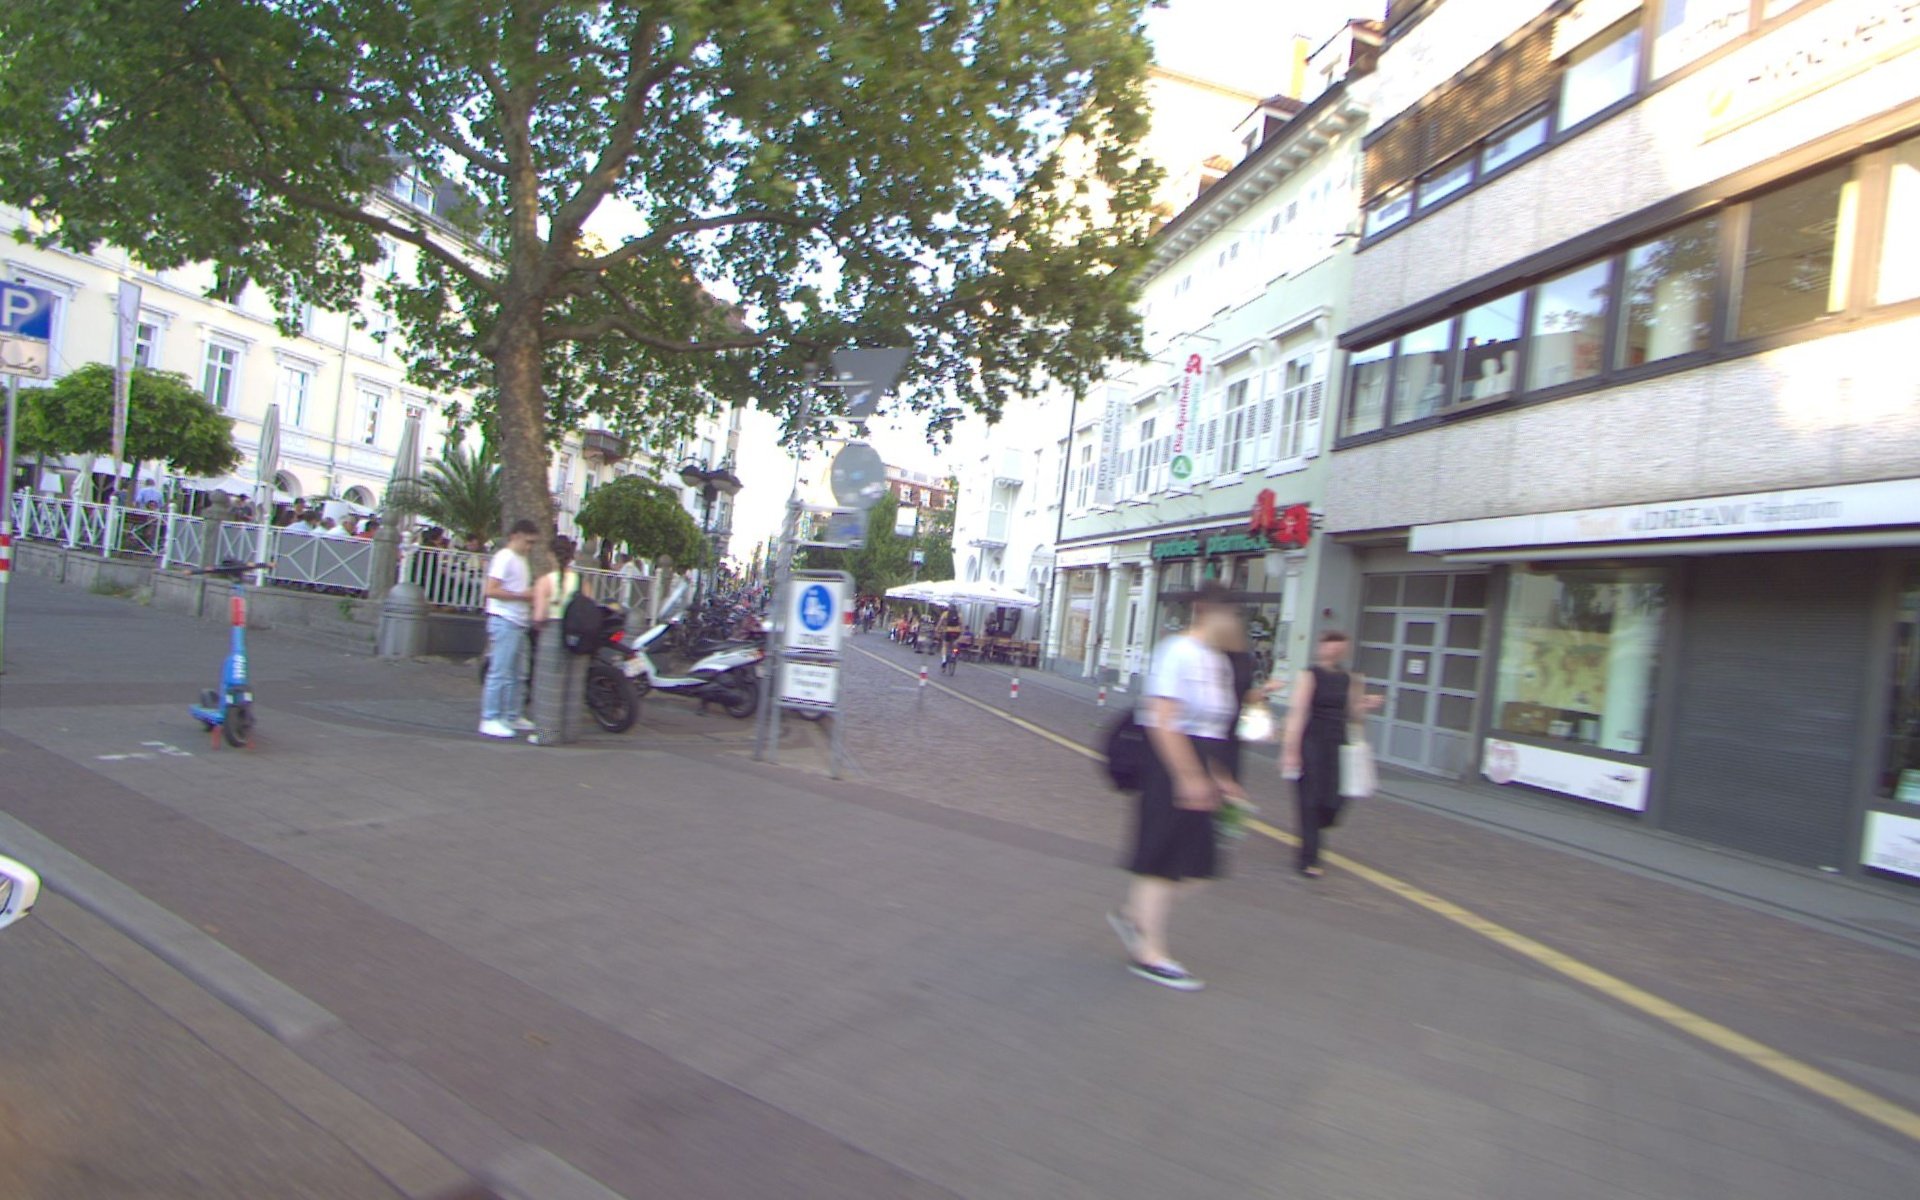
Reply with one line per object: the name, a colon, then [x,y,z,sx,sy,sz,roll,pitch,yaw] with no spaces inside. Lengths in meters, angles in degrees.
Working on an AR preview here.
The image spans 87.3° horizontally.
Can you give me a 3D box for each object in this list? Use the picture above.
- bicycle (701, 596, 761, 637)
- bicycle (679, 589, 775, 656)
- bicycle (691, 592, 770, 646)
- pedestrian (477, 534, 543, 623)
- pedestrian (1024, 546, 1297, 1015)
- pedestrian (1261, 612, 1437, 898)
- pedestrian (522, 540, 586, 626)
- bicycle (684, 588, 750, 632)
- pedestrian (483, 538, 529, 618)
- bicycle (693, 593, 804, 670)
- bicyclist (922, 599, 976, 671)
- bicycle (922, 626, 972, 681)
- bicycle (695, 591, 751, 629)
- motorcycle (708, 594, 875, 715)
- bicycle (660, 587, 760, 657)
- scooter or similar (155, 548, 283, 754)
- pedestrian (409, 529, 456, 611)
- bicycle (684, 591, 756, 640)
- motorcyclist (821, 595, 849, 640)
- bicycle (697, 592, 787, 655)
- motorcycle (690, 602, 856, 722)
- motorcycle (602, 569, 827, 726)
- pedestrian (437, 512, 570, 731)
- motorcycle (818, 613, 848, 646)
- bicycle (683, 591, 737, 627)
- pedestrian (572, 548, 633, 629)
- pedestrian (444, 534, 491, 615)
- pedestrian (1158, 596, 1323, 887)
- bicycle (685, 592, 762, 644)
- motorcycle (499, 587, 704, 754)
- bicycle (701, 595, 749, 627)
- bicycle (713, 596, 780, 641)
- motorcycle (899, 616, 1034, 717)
bicycle: [-8.782,0.641,38.645,2.090,1.307,0.440,8,-1,-24]
bicycle: [-5.700,0.545,24.645,2.080,1.307,0.442,9,1,-4]
bicycle: [-6.751,0.564,29.633,2.091,1.306,0.440,9,-1,-24]
pedestrian: [-7.062,-0.337,15.791,0.642,1.300,0.732,6,-1,-42]
pedestrian: [0.907,0.732,4.513,0.811,1.826,0.714,6,0,34]
pedestrian: [2.573,0.990,6.732,0.647,1.744,0.823,5,-1,-6]
pedestrian: [-6.536,-0.273,16.197,0.642,1.300,0.732,6,-1,-42]
bicycle: [-8.624,0.354,35.692,2.090,1.307,0.440,8,0,-24]
pedestrian: [-7.712,-0.372,17.085,0.472,1.300,0.534,6,-1,-42]
bicycle: [-4.421,0.657,21.140,2.080,1.307,0.442,9,1,-4]
bicyclist: [-0.296,0.887,25.289,0.977,1.671,0.997,7,-2,-14]
bicycle: [-0.342,1.308,25.206,0.641,1.226,2.192,7,-2,-14]
bicycle: [-9.909,0.436,42.103,2.090,1.307,0.440,8,-1,-24]
motorcycle: [-2.177,0.698,13.088,1.920,1.297,0.563,7,-1,5]
bicycle: [-5.831,0.516,23.544,2.080,1.307,0.442,9,2,-4]
scooter or similar: [-5.050,0.314,6.833,1.253,1.237,0.314,7,1,39]
pedestrian: [-8.799,-0.494,16.770,0.472,1.300,0.534,6,-1,-42]
bicycle: [-7.792,0.510,32.700,2.091,1.307,0.440,9,0,-24]
motorcyclist: [-4.236,0.586,34.094,0.593,1.457,0.598,6,-1,-33]
bicycle: [-5.620,0.599,26.046,2.080,1.307,0.442,9,1,-4]
motorcycle: [-2.274,0.747,12.308,1.764,1.164,0.553,9,-1,5]
motorcycle: [-2.755,0.531,11.364,2.253,1.440,0.566,7,-1,5]
pedestrian: [-3.814,0.179,8.415,0.651,1.738,0.614,5,-1,34]
motorcycle: [-4.313,0.988,34.086,0.345,1.046,1.572,6,-1,-29]
bicycle: [-10.804,0.397,43.533,2.090,1.307,0.440,8,-1,-24]
pedestrian: [-6.085,-0.195,17.129,0.642,1.300,0.732,6,-1,-42]
pedestrian: [-8.286,-0.431,16.921,0.475,1.300,0.519,6,-1,-41]
pedestrian: [1.830,0.896,6.675,0.647,1.762,0.823,5,-1,-6]
bicycle: [-7.217,0.549,30.699,2.091,1.307,0.440,9,0,-24]
motorcycle: [-3.213,0.586,8.928,1.997,1.172,0.455,7,0,32]
bicycle: [-11.432,0.527,48.919,2.090,1.307,0.440,8,-1,-24]
bicycle: [-7.384,0.649,34.871,2.090,1.307,0.440,8,-1,-24]
motorcycle: [0.094,1.030,15.685,1.923,1.297,0.562,8,-1,-6]
